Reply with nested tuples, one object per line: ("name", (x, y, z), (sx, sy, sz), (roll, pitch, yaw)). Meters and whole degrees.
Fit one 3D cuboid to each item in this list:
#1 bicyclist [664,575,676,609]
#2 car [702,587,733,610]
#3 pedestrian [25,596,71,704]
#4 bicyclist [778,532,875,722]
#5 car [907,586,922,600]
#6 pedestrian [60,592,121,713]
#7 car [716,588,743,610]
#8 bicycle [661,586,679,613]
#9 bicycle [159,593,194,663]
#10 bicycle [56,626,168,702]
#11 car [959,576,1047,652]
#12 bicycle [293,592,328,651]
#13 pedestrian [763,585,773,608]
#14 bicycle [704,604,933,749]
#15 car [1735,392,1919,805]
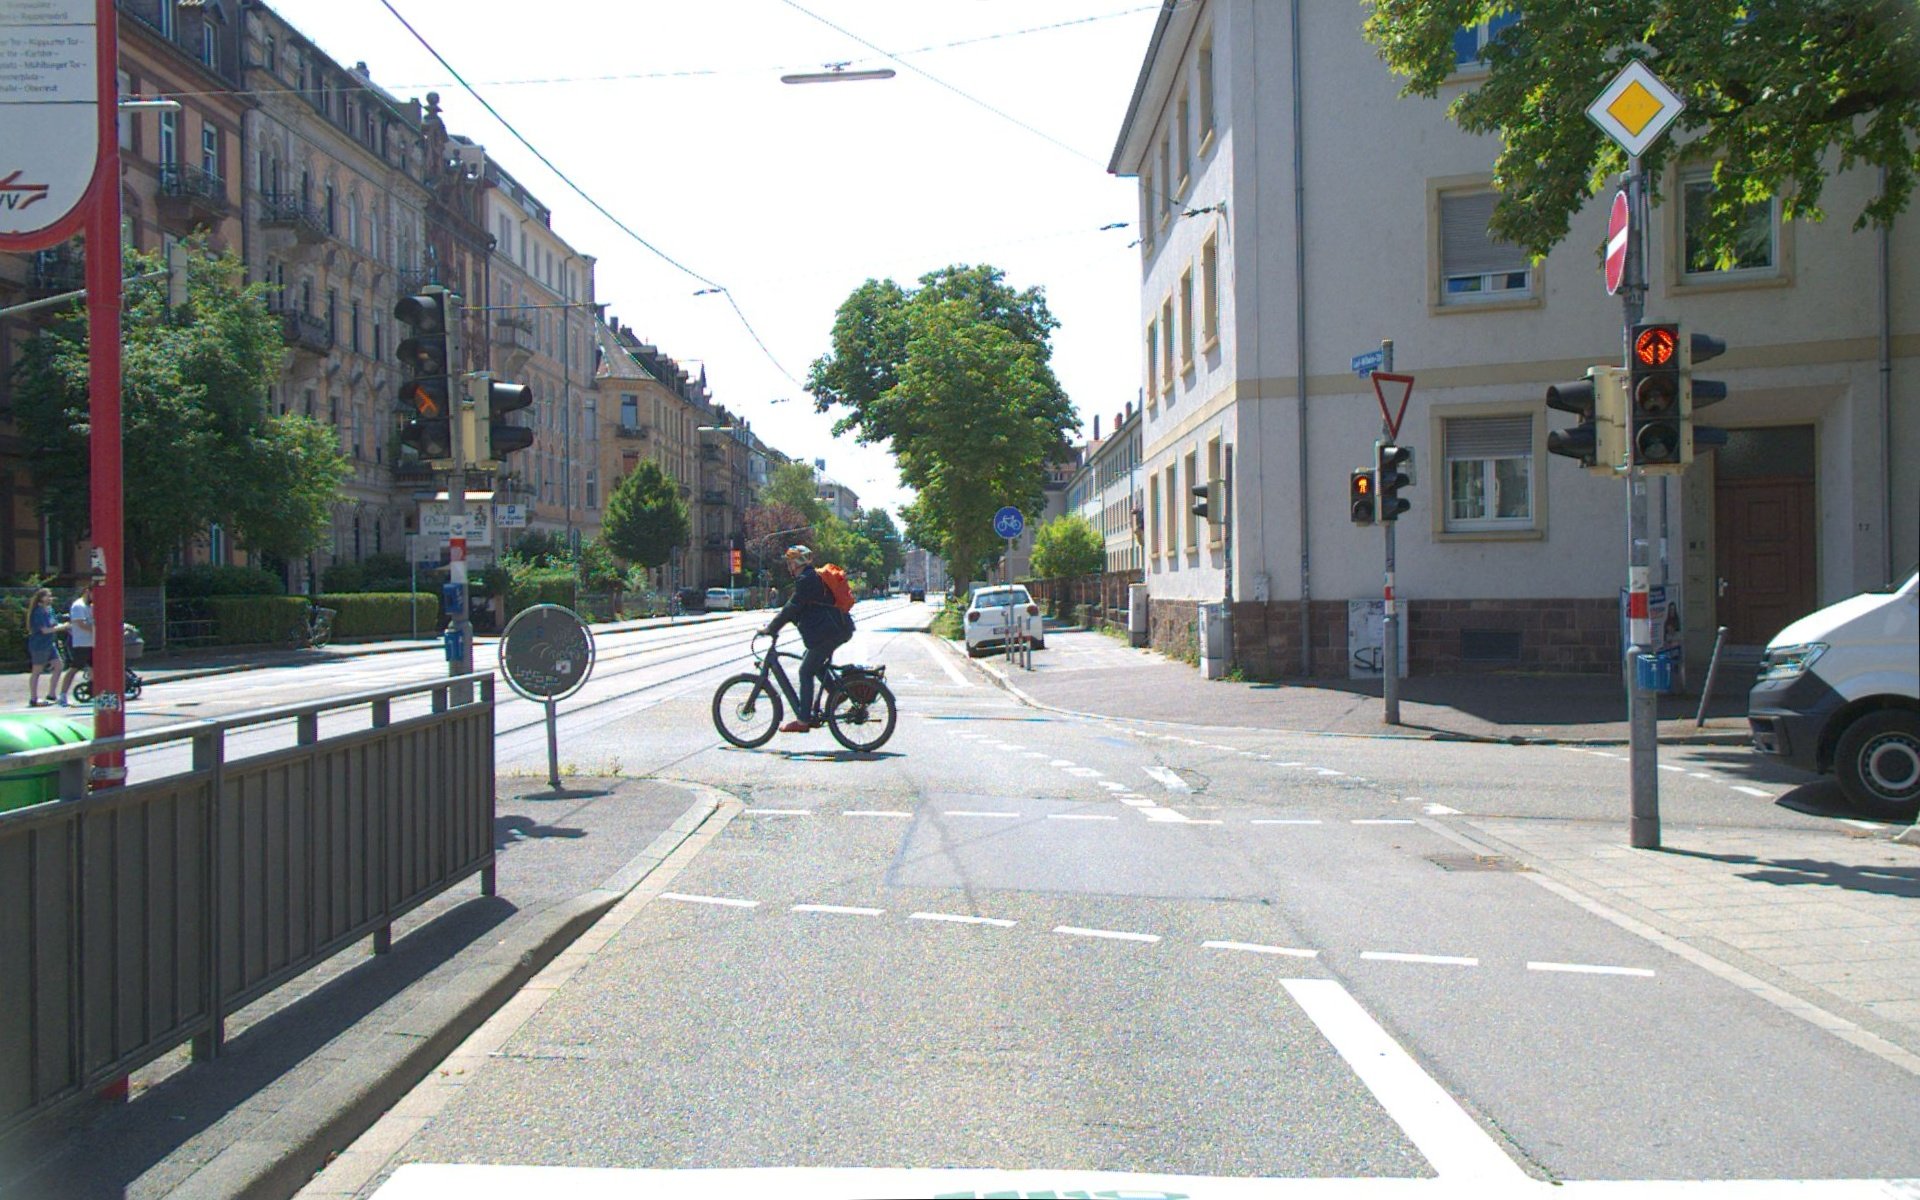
("bicyclist", (-15.348, -0.422, 87.583), (0.531, 1.794, 0.498), (0, 0, -1))
("car", (-16.885, -0.109, 115.324), (1.651, 1.498, 3.936), (-4, 0, -3))
("pedestrian", (-13.200, 0.712, 23.936), (0.503, 1.543, 0.462), (0, 0, -43))
("bicyclist", (-1.208, 0.237, 14.977), (0.679, 1.675, 0.580), (0, 0, 24))
("car", (-4.895, -0.780, 179.855), (1.494, 1.469, 3.364), (-2, 0, 0))
("pedestrian", (-12.098, 0.717, 23.010), (0.648, 1.643, 0.462), (0, 2, -43))
("car", (-17.156, -0.093, 123.384), (1.596, 1.498, 3.562), (-4, 0, -3))
("bicycle", (-15.351, -0.011, 87.707), (0.565, 1.412, 2.500), (0, 0, -1))
("bicycle", (-16.438, 0.575, 34.689), (0.607, 1.420, 2.288), (0, 0, -27))
("bicycle", (-12.286, 0.917, 23.986), (1.391, 1.031, 0.383), (-1, 1, -41))
("car", (0.917, 0.308, 37.215), (1.712, 1.498, 3.937), (-4, 0, -1))
("bicycle", (-15.907, 0.512, 40.490), (0.584, 1.380, 2.419), (0, 0, -27))
("pedestrian", (-14.709, -0.286, 126.827), (0.664, 1.758, 0.677), (0, 0, -1))
("bicycle", (-1.295, 0.663, 15.014), (2.038, 1.258, 0.580), (0, 0, 22))
("car", (8.100, -0.037, 10.151), (5.742, 2.635, 1.990), (-1, 0, 40))
